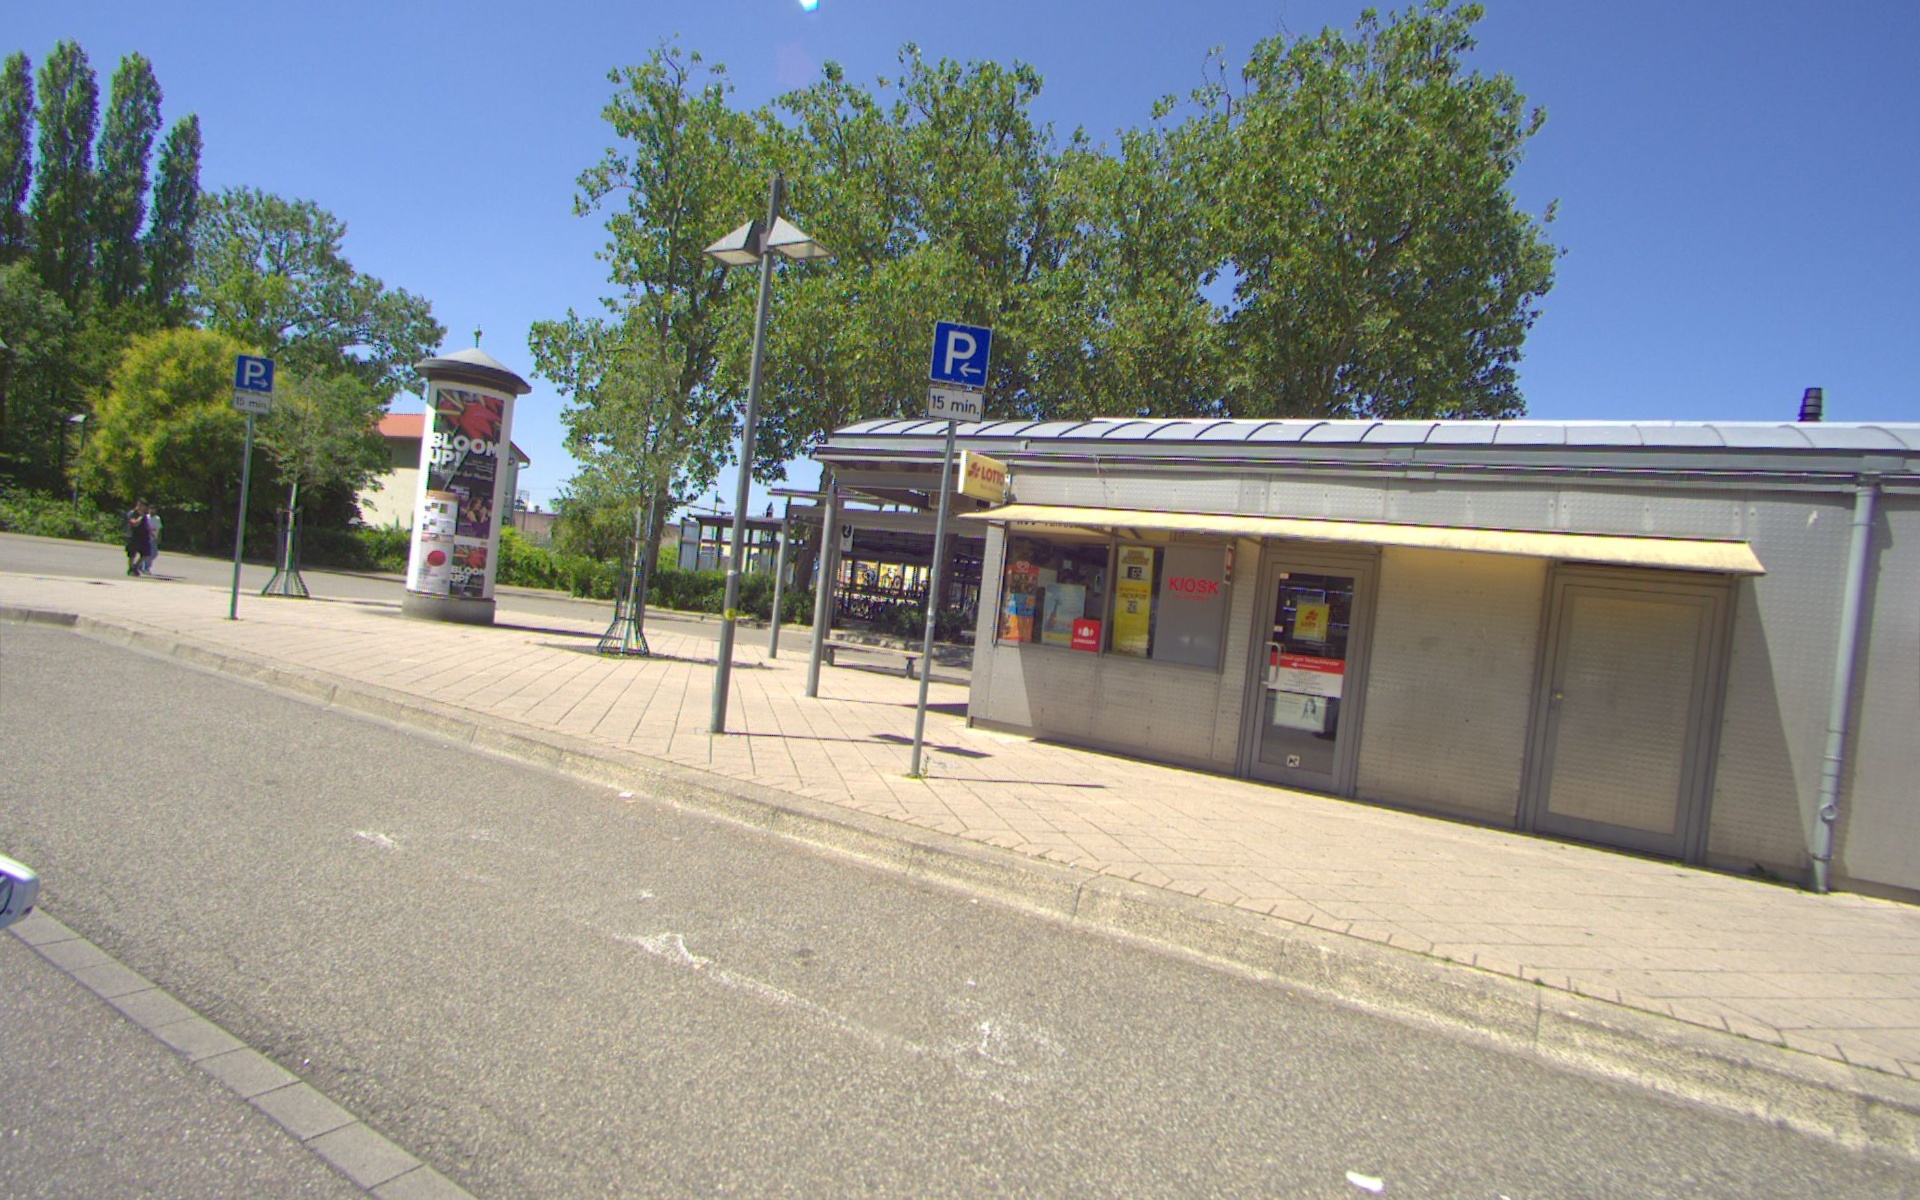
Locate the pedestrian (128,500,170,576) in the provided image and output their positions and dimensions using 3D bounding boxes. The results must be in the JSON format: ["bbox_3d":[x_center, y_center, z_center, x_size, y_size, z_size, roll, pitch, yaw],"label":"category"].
[{"bbox_3d":[-19.891,-1.523,24.677,0.670,1.758,0.905,6,1,-40],"label":"pedestrian"}]

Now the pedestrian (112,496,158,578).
[{"bbox_3d":[-19.398,-1.474,23.645,0.689,1.807,0.905,6,1,-40],"label":"pedestrian"}]
